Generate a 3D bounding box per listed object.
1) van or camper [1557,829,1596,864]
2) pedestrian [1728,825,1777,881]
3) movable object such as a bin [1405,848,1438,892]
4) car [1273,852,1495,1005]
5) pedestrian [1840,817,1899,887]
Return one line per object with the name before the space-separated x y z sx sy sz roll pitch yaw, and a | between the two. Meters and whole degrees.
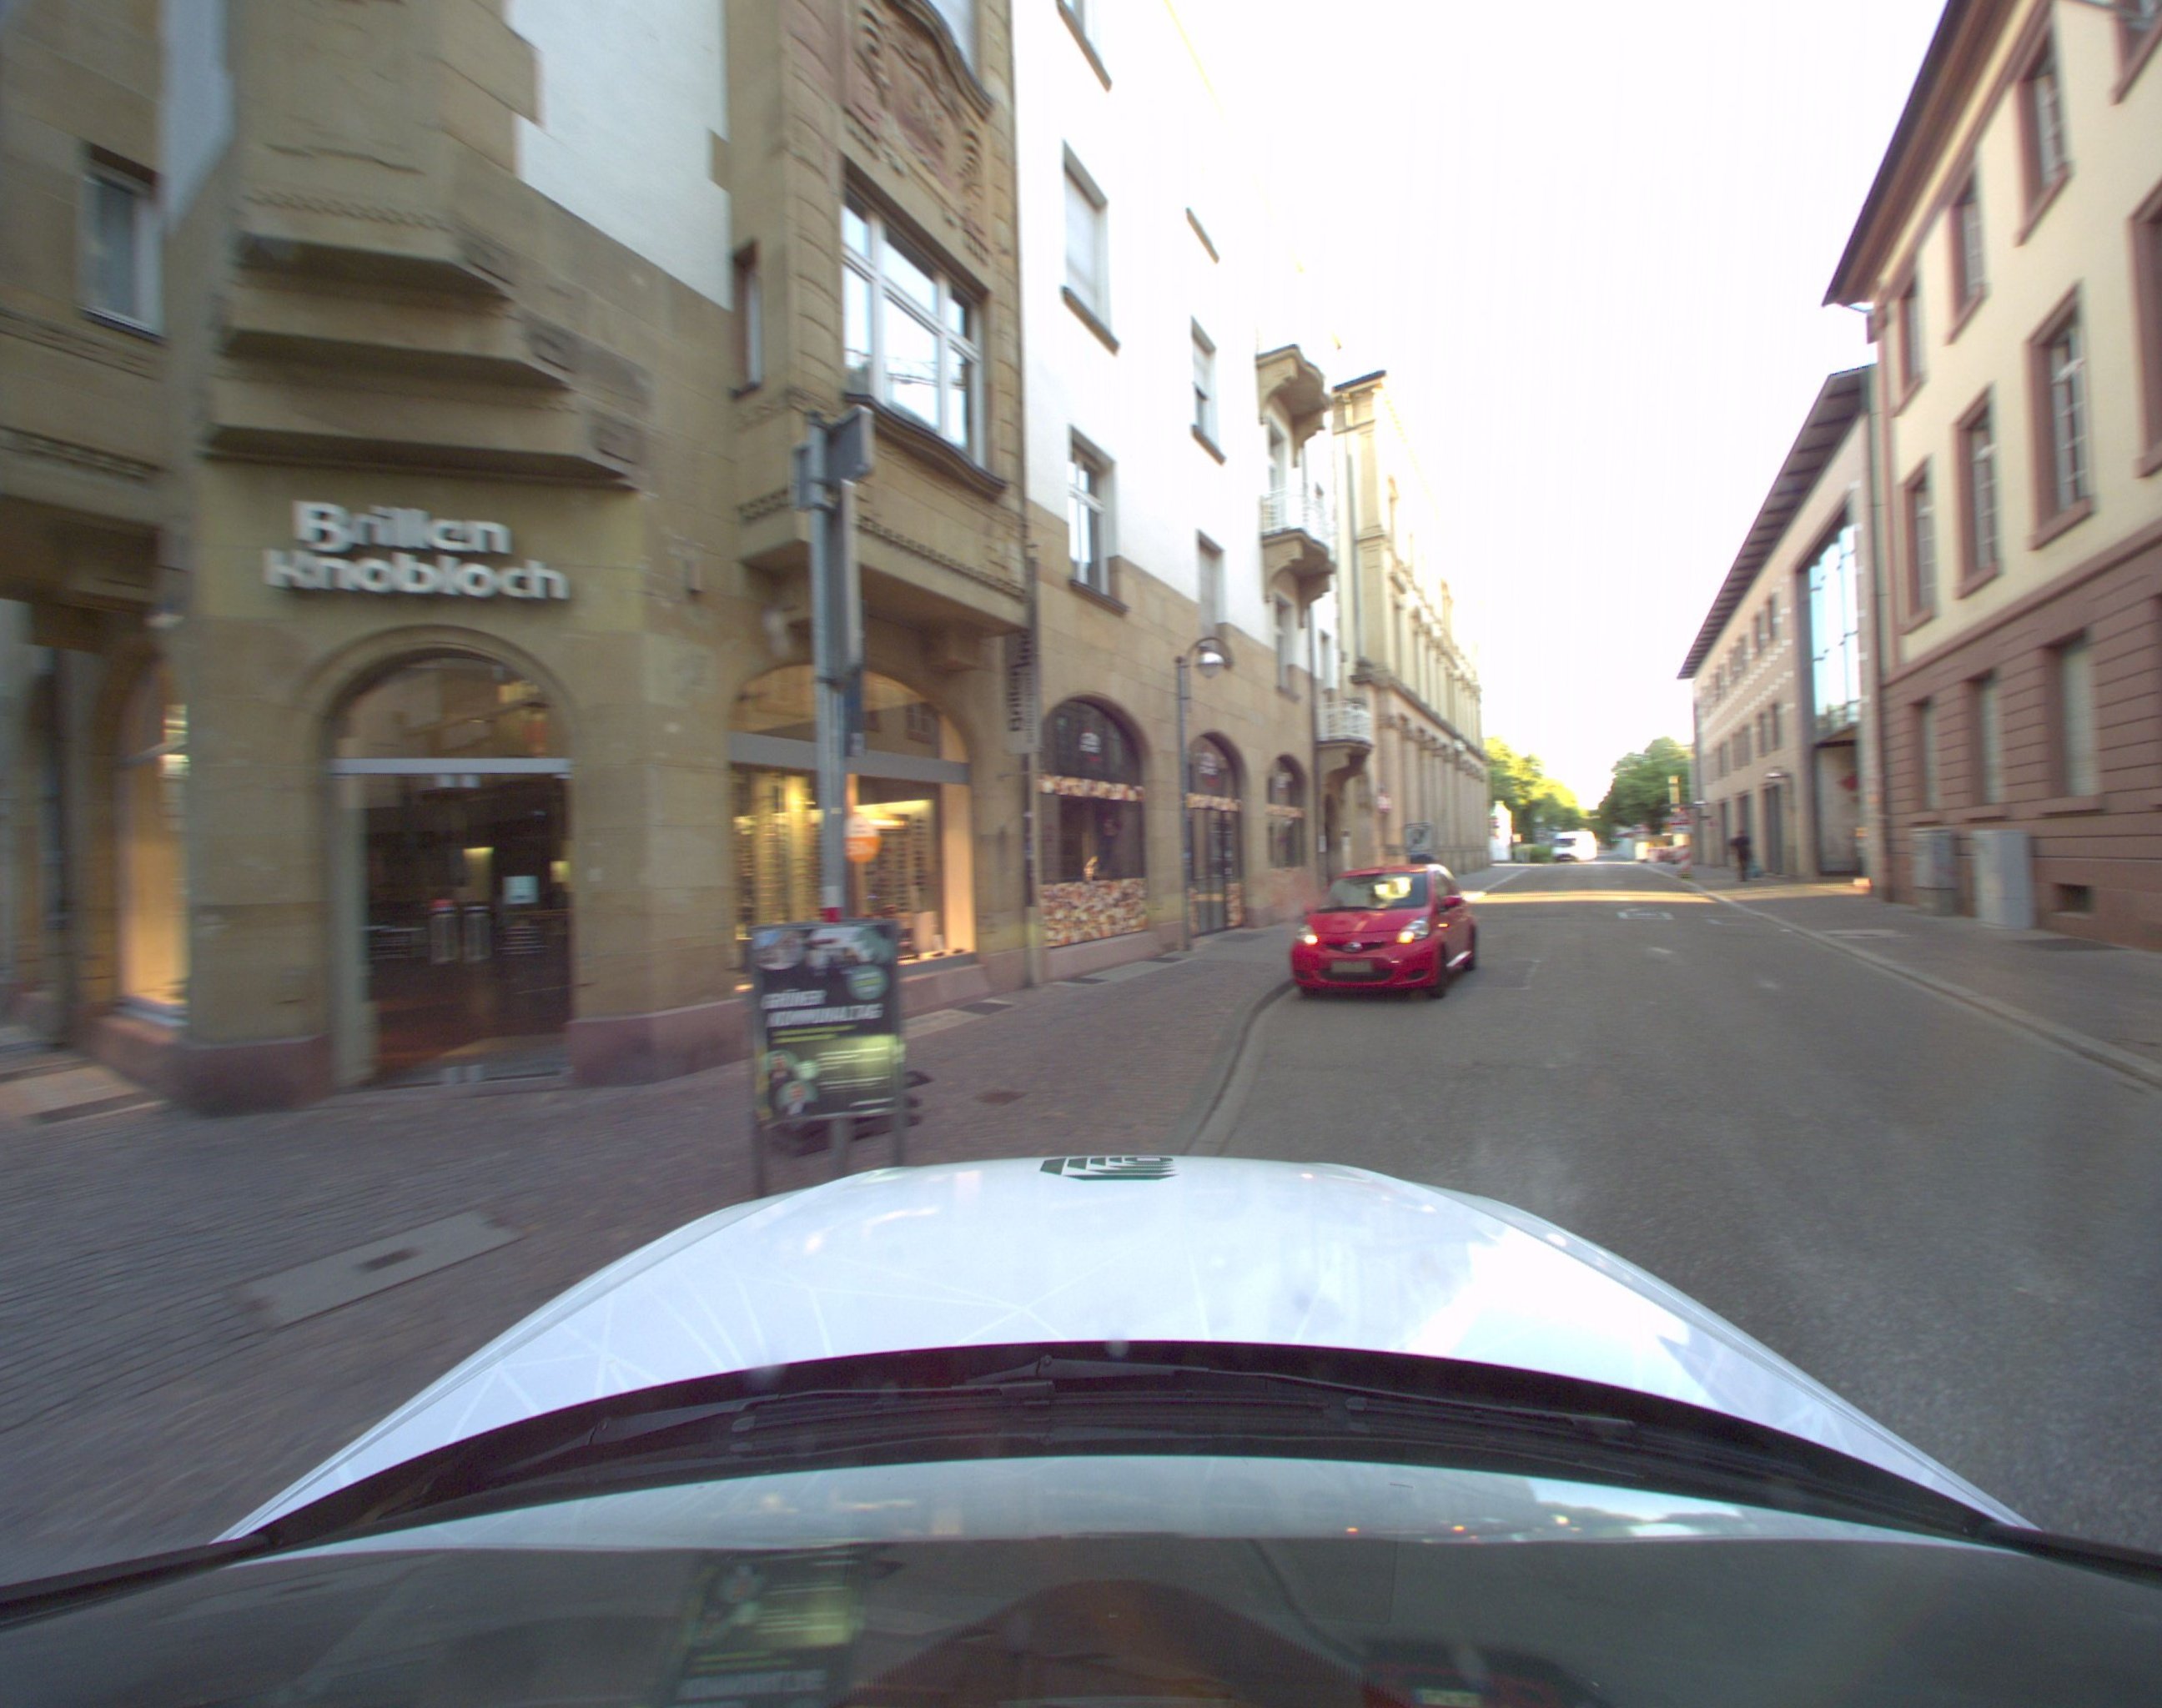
van or camper | 39.305 -0.608 64.534 2.197 2.585 6.413 -2 0 35
pedestrian | 22.856 -0.024 27.751 0.991 1.803 0.887 -7 -4 32
movable object such as a bin | 12.260 0.565 29.325 0.821 1.503 1.299 -2 0 33
car | 3.949 0.800 10.187 1.641 1.470 3.957 -5 -2 33
pedestrian | 21.209 -0.046 21.918 0.885 1.803 0.853 -6 -3 35
